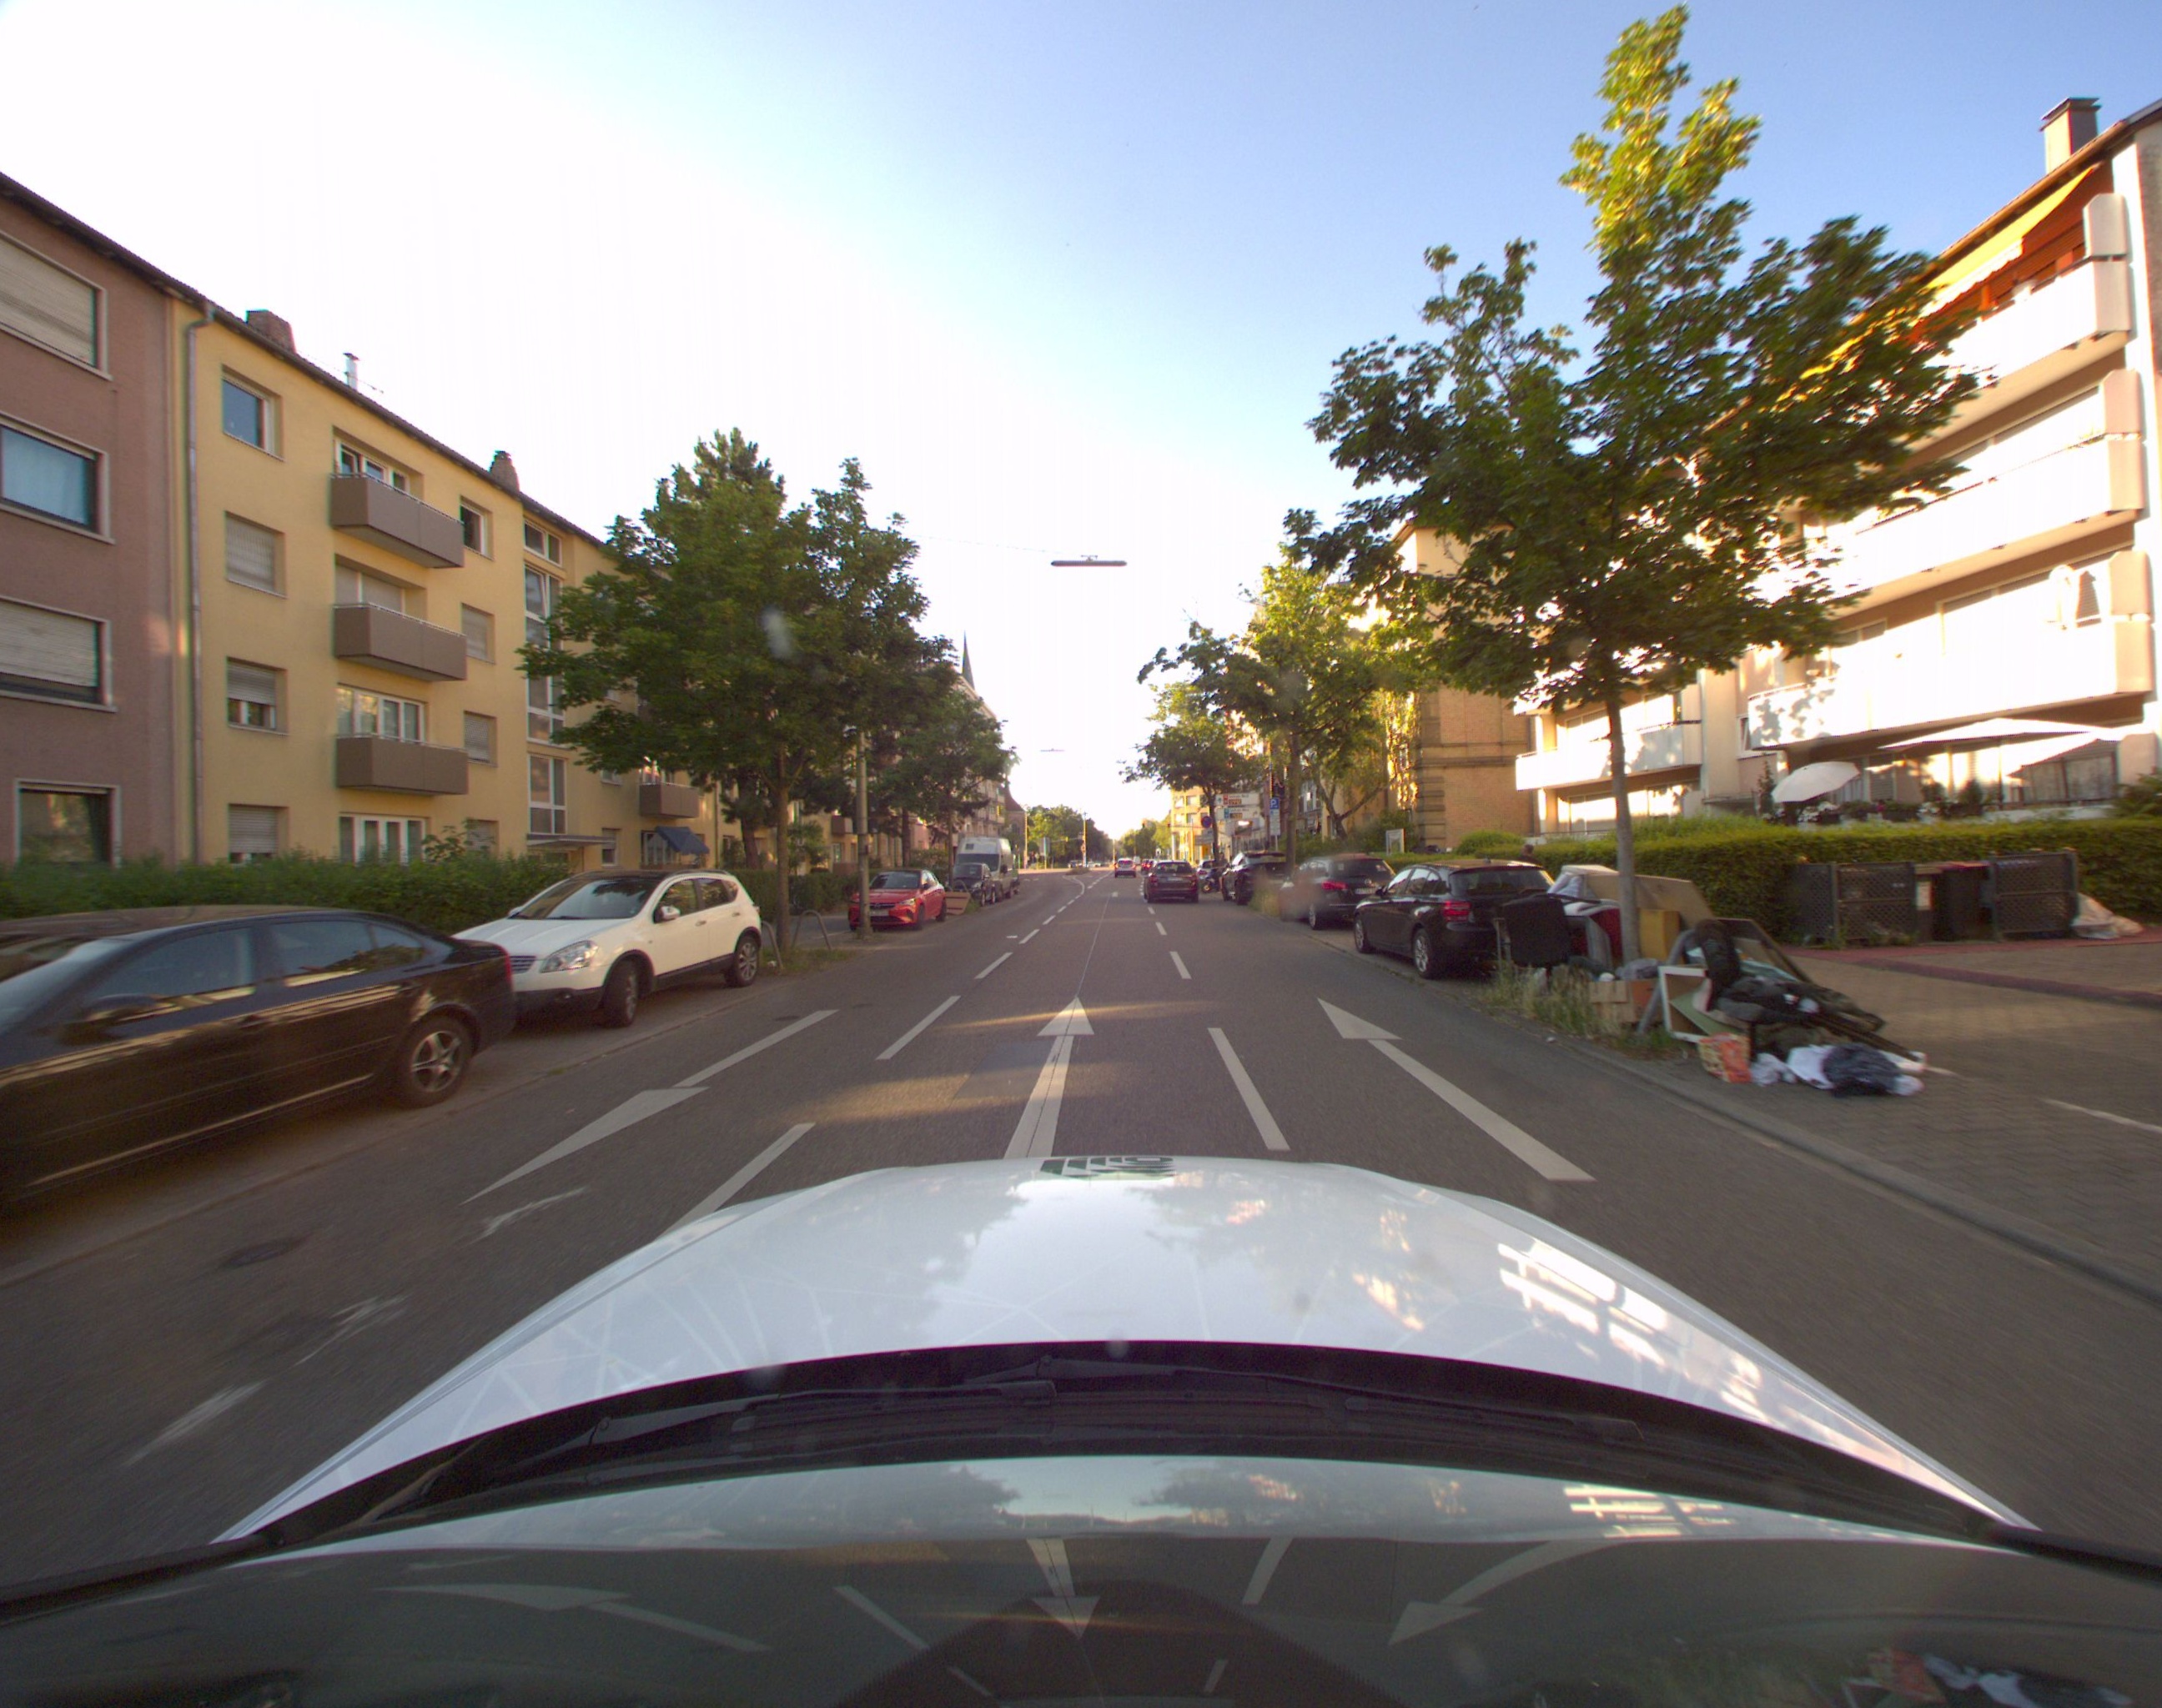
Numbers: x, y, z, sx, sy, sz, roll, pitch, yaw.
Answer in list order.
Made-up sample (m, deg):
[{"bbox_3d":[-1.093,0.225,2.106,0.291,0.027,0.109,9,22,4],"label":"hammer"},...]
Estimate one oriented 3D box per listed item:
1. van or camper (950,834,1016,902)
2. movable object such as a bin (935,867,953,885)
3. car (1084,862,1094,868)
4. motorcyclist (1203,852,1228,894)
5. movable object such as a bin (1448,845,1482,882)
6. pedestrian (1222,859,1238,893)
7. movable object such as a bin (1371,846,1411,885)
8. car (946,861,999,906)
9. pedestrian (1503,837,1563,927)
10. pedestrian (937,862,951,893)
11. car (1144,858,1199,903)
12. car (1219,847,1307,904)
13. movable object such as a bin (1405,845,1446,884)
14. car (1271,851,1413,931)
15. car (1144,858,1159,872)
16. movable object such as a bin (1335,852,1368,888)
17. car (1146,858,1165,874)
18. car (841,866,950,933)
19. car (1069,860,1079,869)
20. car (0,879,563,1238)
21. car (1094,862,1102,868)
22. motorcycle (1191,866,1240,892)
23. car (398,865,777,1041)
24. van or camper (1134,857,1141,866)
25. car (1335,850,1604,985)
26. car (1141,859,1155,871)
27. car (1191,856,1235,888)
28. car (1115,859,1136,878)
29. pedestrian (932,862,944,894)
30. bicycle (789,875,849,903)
[{"bbox_3d":[-4.101,0.575,35.098,2.029,2.664,6.015,0,-1,0],"label":"van or camper"},{"bbox_3d":[-7.995,1.279,47.422,0.864,1.051,0.769,1,-1,1],"label":"movable object such as a bin"},{"bbox_3d":[1.549,2.247,164.408,1.772,1.236,4.004,-1,0,4],"label":"car"},{"bbox_3d":[5.828,0.812,35.260,0.736,1.778,1.085,-1,-1,-9],"label":"motorcyclist"},{"bbox_3d":[15.724,0.392,33.321,1.128,1.441,1.001,-2,-1,31],"label":"movable object such as a bin"},{"bbox_3d":[6.463,0.939,35.263,0.438,1.430,0.702,-1,-1,-9],"label":"pedestrian"},{"bbox_3d":[12.840,0.487,33.743,1.154,1.555,0.992,-2,-1,-7],"label":"movable object such as a bin"},{"bbox_3d":[-3.967,1.056,30.106,1.397,1.548,2.765,0,0,4],"label":"car"},{"bbox_3d":[8.403,0.512,15.165,0.743,1.616,0.580,-2,-1,1],"label":"pedestrian"},{"bbox_3d":[-7.380,1.276,43.893,0.603,1.652,0.696,-2,-1,-4],"label":"pedestrian"},{"bbox_3d":[3.123,0.872,28.744,1.700,1.457,4.162,0,0,3],"label":"car"},{"bbox_3d":[5.854,0.656,26.816,1.940,1.655,4.798,-2,0,2],"label":"car"},{"bbox_3d":[14.167,0.428,33.518,1.154,1.555,0.992,-2,-1,-7],"label":"movable object such as a bin"},{"bbox_3d":[5.545,0.726,17.899,1.710,1.472,4.432,-2,0,1],"label":"car"},{"bbox_3d":[7.969,1.244,92.254,1.483,1.505,3.480,-2,0,2],"label":"car"},{"bbox_3d":[11.213,0.651,33.821,1.243,1.441,0.999,-2,-1,17],"label":"movable object such as a bin"},{"bbox_3d":[7.353,1.197,80.709,1.643,1.484,4.242,-1,0,3],"label":"car"},{"bbox_3d":[-4.596,1.080,20.742,1.710,1.452,3.926,-1,0,3],"label":"car"},{"bbox_3d":[-1.441,2.082,165.092,1.772,1.647,4.004,-1,0,4],"label":"car"},{"bbox_3d":[-5.534,0.945,4.761,1.986,1.448,4.461,-2,-1,2],"label":"car"},{"bbox_3d":[4.082,2.700,198.042,1.772,1.236,4.004,-1,0,4],"label":"car"},{"bbox_3d":[5.847,1.091,35.405,1.925,1.071,0.817,-1,-1,-9],"label":"motorcycle"},{"bbox_3d":[-5.372,0.953,9.659,1.769,1.588,4.189,-1,0,3],"label":"car"},{"bbox_3d":[16.804,2.166,243.464,1.984,2.640,5.357,-2,0,5],"label":"van or camper"},{"bbox_3d":[5.088,0.731,11.454,1.763,1.448,4.487,-2,0,3],"label":"car"},{"bbox_3d":[8.004,1.265,97.577,1.578,1.447,3.650,0,0,3],"label":"car"},{"bbox_3d":[6.932,0.912,43.081,1.847,1.512,4.840,-3,-1,4],"label":"car"},{"bbox_3d":[3.677,1.143,67.499,1.700,1.510,4.312,-1,0,3],"label":"car"},{"bbox_3d":[-7.576,1.270,43.065,0.479,1.652,0.724,-2,-1,-3],"label":"pedestrian"},{"bbox_3d":[-9.300,1.241,28.962,1.927,0.925,0.583,1,0,3],"label":"bicycle"}]
